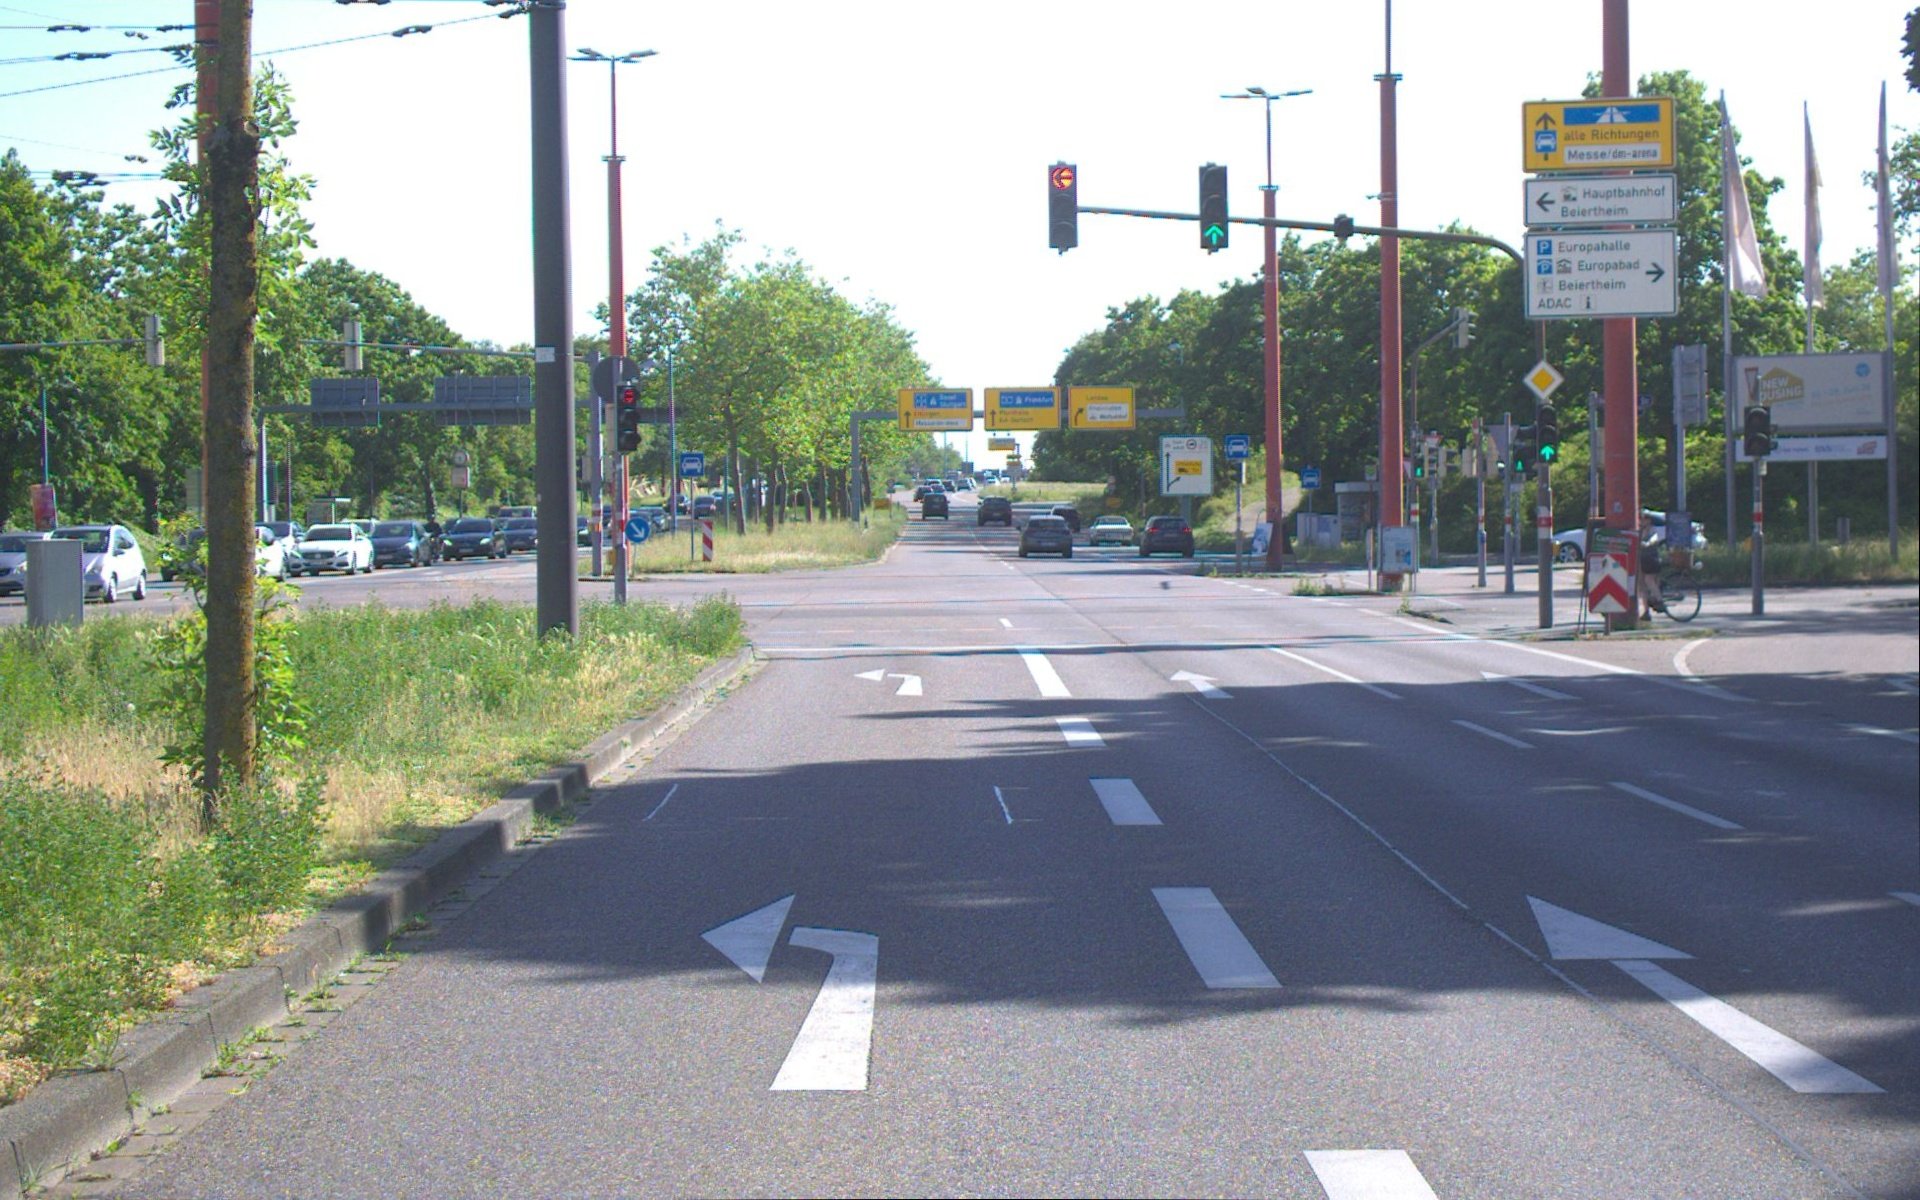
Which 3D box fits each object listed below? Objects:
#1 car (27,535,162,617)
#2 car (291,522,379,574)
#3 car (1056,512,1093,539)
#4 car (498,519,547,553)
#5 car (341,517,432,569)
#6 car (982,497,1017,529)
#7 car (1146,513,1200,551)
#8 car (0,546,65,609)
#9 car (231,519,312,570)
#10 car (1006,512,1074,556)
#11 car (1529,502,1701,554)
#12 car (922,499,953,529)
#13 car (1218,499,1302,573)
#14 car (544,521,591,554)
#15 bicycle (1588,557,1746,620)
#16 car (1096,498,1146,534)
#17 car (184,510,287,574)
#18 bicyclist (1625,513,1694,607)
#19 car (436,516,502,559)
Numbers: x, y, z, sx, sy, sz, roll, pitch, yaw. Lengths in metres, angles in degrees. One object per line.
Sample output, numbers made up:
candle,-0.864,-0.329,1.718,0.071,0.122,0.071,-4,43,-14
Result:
car,-17.609,-0.508,70.082,1.763,1.603,3.758,-1,1,0
car,-17.774,-1.499,97.947,1.703,1.418,4.643,-1,1,-1
car,6.608,-4.302,199.237,1.993,1.535,4.000,0,1,0
car,-18.052,-2.672,142.010,1.548,1.372,4.263,0,1,-1
car,-18.039,-1.816,108.312,1.993,1.589,4.464,-1,1,1
car,2.498,-5.498,218.209,2.154,2.007,4.000,0,1,0
car,7.694,-2.467,124.193,1.738,1.337,3.082,0,1,0
car,-21.899,-0.537,78.337,1.993,1.369,4.401,1,1,-2
car,-21.645,-1.760,108.205,1.876,1.570,4.000,1,1,-2
car,2.786,-2.309,120.342,1.993,1.491,4.001,0,1,-4
car,17.708,-1.945,92.864,4.381,1.366,2.059,0,1,16
car,-1.564,-5.956,239.054,1.993,2.007,4.001,1,1,-3
car,7.875,-1.687,89.972,1.994,1.881,3.999,0,1,8
car,-17.279,-2.763,151.625,1.605,1.454,3.950,0,1,0
bicycle,10.164,-0.168,49.435,2.161,0.875,0.560,0,1,-11
car,7.010,-3.660,149.871,1.993,1.535,4.000,1,1,0
car,-17.979,-1.468,85.452,1.589,1.467,4.183,-2,2,1
bicyclist,10.052,-0.577,49.404,0.739,1.337,0.708,0,1,-10
car,-17.694,-2.260,124.023,1.876,1.480,4.606,1,1,-2
